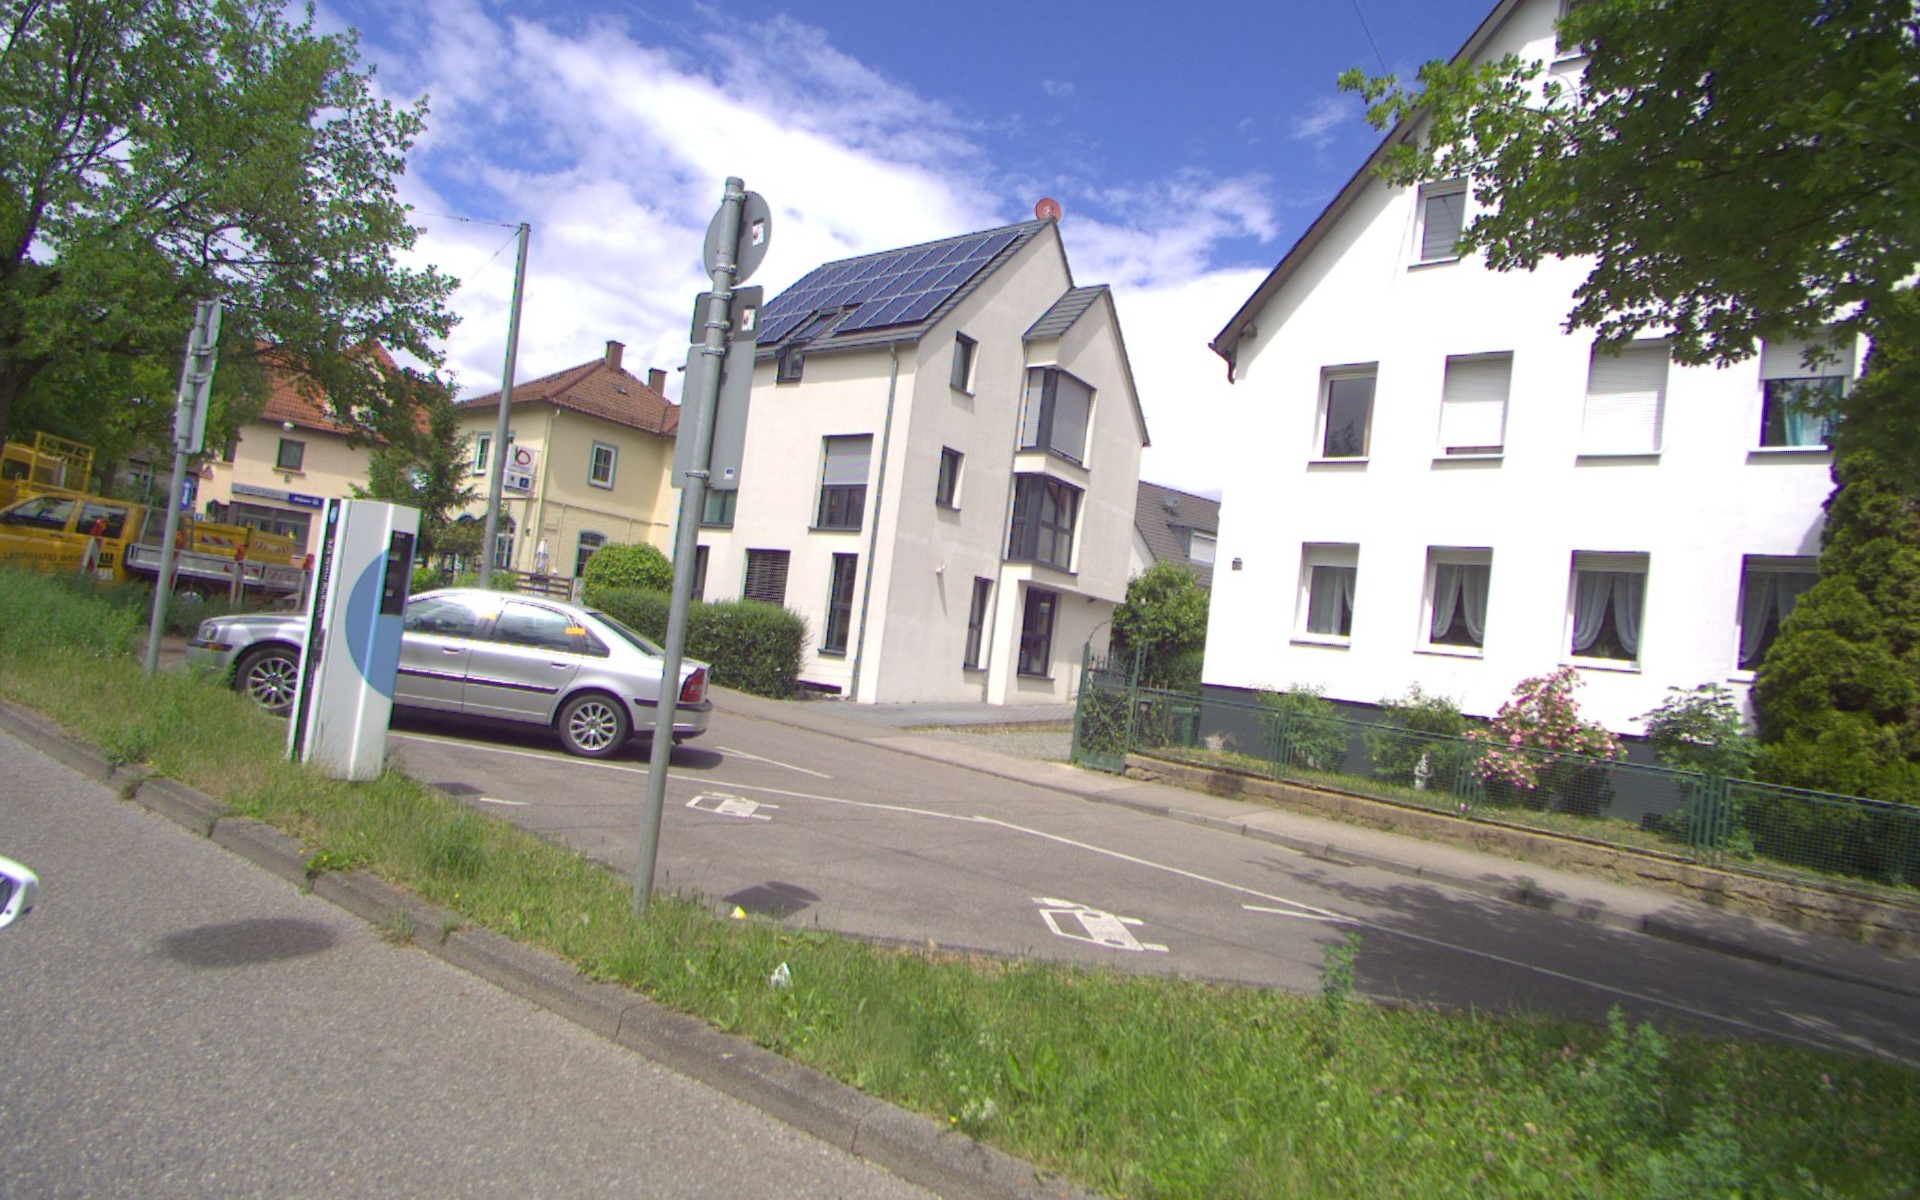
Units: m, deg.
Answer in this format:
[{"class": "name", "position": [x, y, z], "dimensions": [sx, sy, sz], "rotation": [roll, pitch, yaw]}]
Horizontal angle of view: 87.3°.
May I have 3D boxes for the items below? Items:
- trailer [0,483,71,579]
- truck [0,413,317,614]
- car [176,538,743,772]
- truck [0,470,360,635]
[{"class": "trailer", "position": [-24.509, -1.905, 24.905], "dimensions": [5.427, 2.053, 2.393], "rotation": [6, -4, 36]}, {"class": "truck", "position": [-17.824, -1.804, 20.877], "dimensions": [6.604, 3.038, 2.767], "rotation": [9, -5, -14]}, {"class": "car", "position": [-4.631, 0.592, 10.083], "dimensions": [4.618, 1.467, 1.765], "rotation": [10, -3, -14]}, {"class": "truck", "position": [-14.779, -0.814, 18.760], "dimensions": [5.588, 2.033, 1.999], "rotation": [9, -5, -12]}]
